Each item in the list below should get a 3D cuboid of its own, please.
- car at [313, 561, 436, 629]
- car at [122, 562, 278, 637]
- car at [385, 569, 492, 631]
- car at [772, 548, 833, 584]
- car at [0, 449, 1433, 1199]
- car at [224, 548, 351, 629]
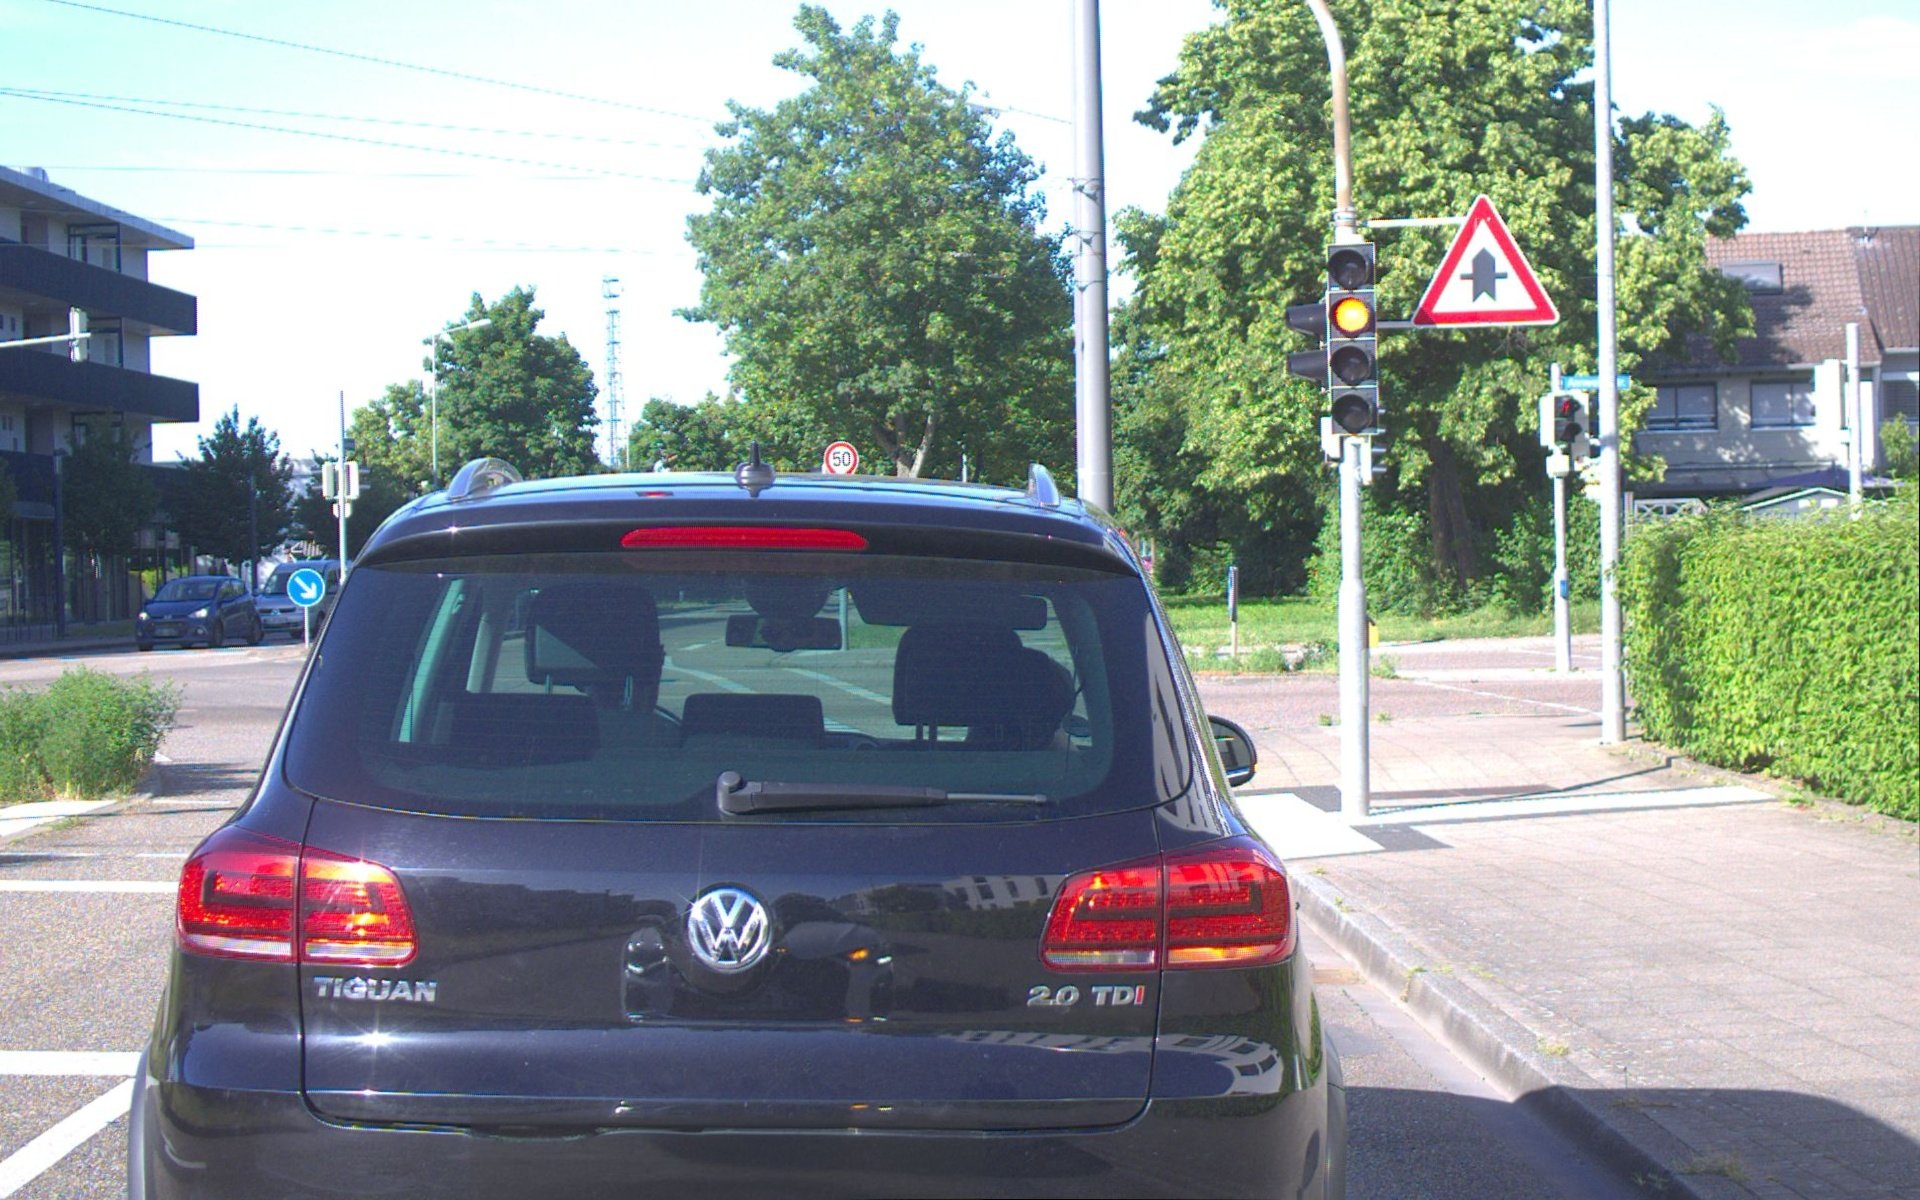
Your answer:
[{"bbox_3d":[-14.242,-0.132,83.796,1.994,1.482,3.543,-3,1,6],"label":"car"},{"bbox_3d":[-15.689,-0.032,71.197,1.696,1.451,4.451,-1,1,8],"label":"car"},{"bbox_3d":[-13.724,-0.024,90.731,1.967,1.529,4.740,-1,1,2],"label":"car"},{"bbox_3d":[-7.036,-1.535,153.938,1.994,1.566,3.999,-1,1,8],"label":"car"},{"bbox_3d":[-0.431,0.617,6.755,1.929,1.649,4.515,1,1,-2],"label":"car"},{"bbox_3d":[-15.258,-0.291,78.189,1.993,1.749,4.362,-1,1,0],"label":"car"}]
